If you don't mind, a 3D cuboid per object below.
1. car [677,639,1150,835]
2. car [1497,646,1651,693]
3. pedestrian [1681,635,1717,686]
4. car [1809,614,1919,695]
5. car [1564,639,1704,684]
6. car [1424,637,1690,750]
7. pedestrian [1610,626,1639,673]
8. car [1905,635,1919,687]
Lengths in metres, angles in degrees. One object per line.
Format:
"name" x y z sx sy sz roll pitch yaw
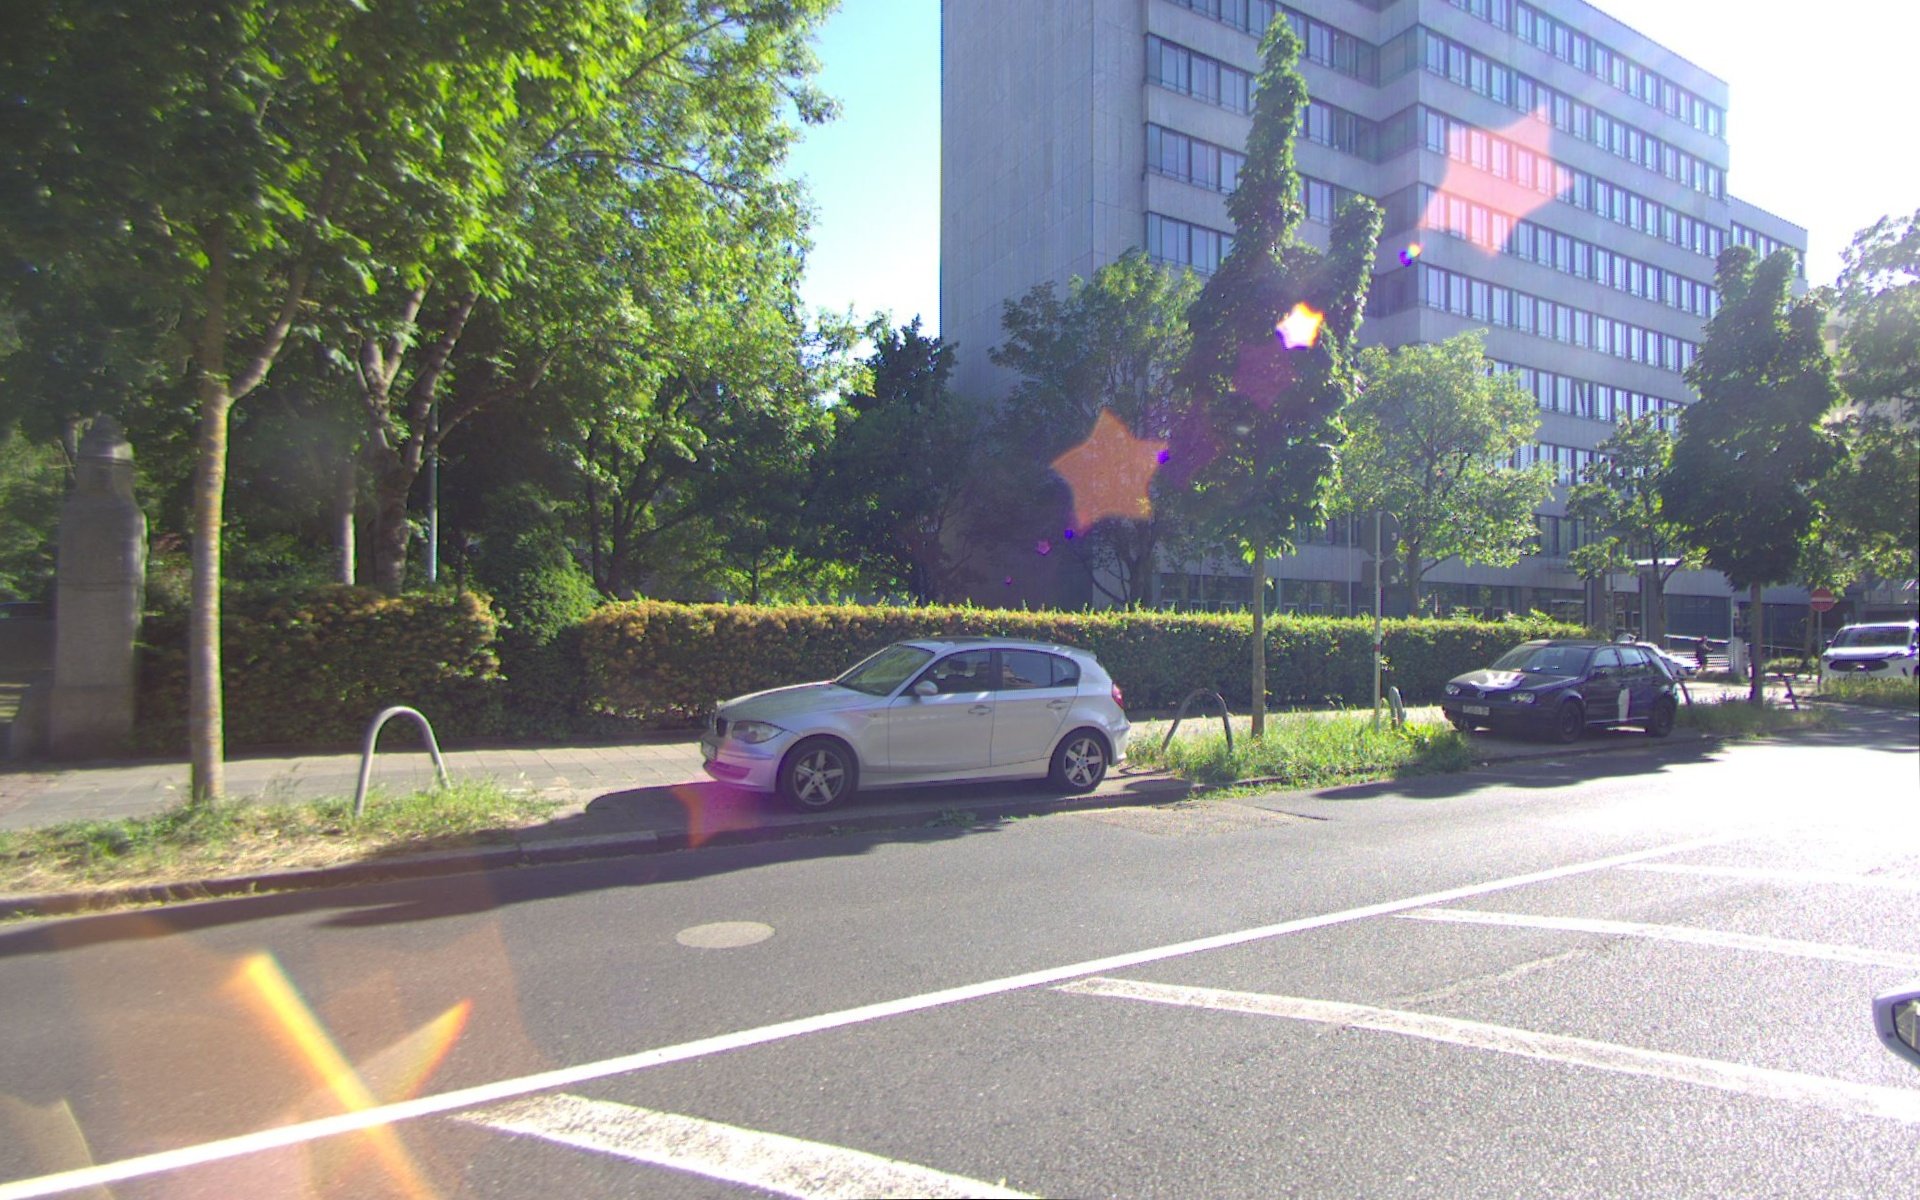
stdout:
"car" -0.390 1.137 9.494 4.138 1.402 1.681 1 2 -28
"car" 22.557 2.501 37.128 1.911 1.461 4.600 1 -1 -25
"pedestrian" 30.607 2.514 41.626 0.996 2.040 0.831 2 0 -30
"car" 26.204 1.529 28.376 5.141 2.103 1.970 2 -4 -33
"car" 26.769 2.402 40.012 1.841 1.543 4.280 1 -1 -32
"car" 9.147 1.342 15.337 4.022 1.478 1.704 1 -1 -29
"pedestrian" 30.752 2.288 46.485 0.782 2.121 0.768 2 0 -29
"car" 30.959 1.885 30.735 4.265 1.543 1.774 1 -1 -29
